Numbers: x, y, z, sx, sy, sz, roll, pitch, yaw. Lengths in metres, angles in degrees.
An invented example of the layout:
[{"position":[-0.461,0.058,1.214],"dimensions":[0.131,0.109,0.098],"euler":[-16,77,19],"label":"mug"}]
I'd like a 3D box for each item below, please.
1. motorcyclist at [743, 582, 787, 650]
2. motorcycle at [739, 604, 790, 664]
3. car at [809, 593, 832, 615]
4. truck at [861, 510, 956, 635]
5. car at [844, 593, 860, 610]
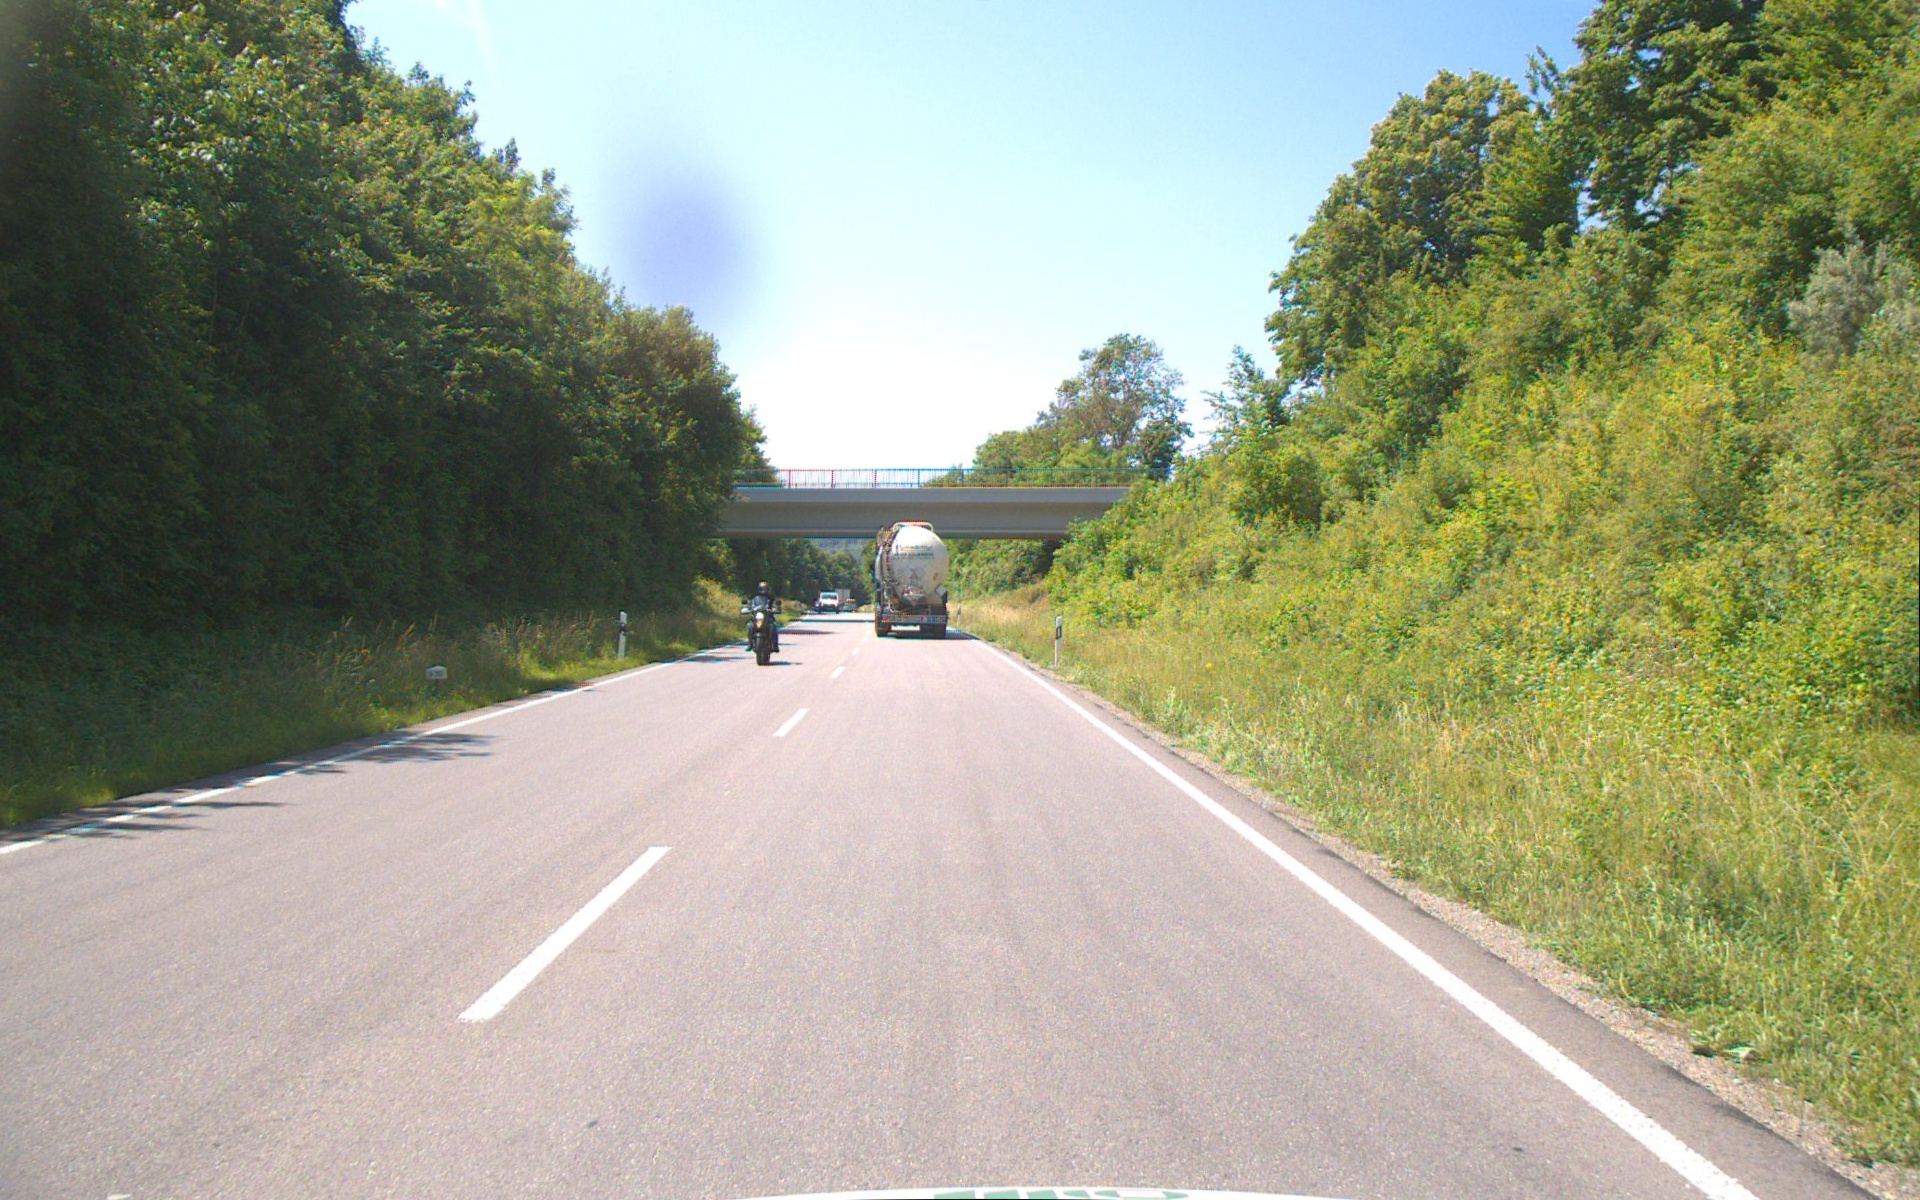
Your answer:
[{"position":[-4.245,0.340,36.013],"dimensions":[0.832,1.463,1.073],"euler":[0,0,-1],"label":"motorcyclist"},{"position":[-4.245,0.719,36.040],"dimensions":[0.846,1.242,2.442],"euler":[0,0,-1],"label":"motorcycle"},{"position":[-12.625,0.306,149.658],"dimensions":[1.893,1.939,5.324],"euler":[1,0,-3],"label":"car"},{"position":[-2.058,-0.798,63.668],"dimensions":[2.988,4.068,15.627],"euler":[3,-1,-2],"label":"truck"},{"position":[-13.590,0.200,208.214],"dimensions":[1.955,2.049,3.995],"euler":[1,0,-6],"label":"car"}]
